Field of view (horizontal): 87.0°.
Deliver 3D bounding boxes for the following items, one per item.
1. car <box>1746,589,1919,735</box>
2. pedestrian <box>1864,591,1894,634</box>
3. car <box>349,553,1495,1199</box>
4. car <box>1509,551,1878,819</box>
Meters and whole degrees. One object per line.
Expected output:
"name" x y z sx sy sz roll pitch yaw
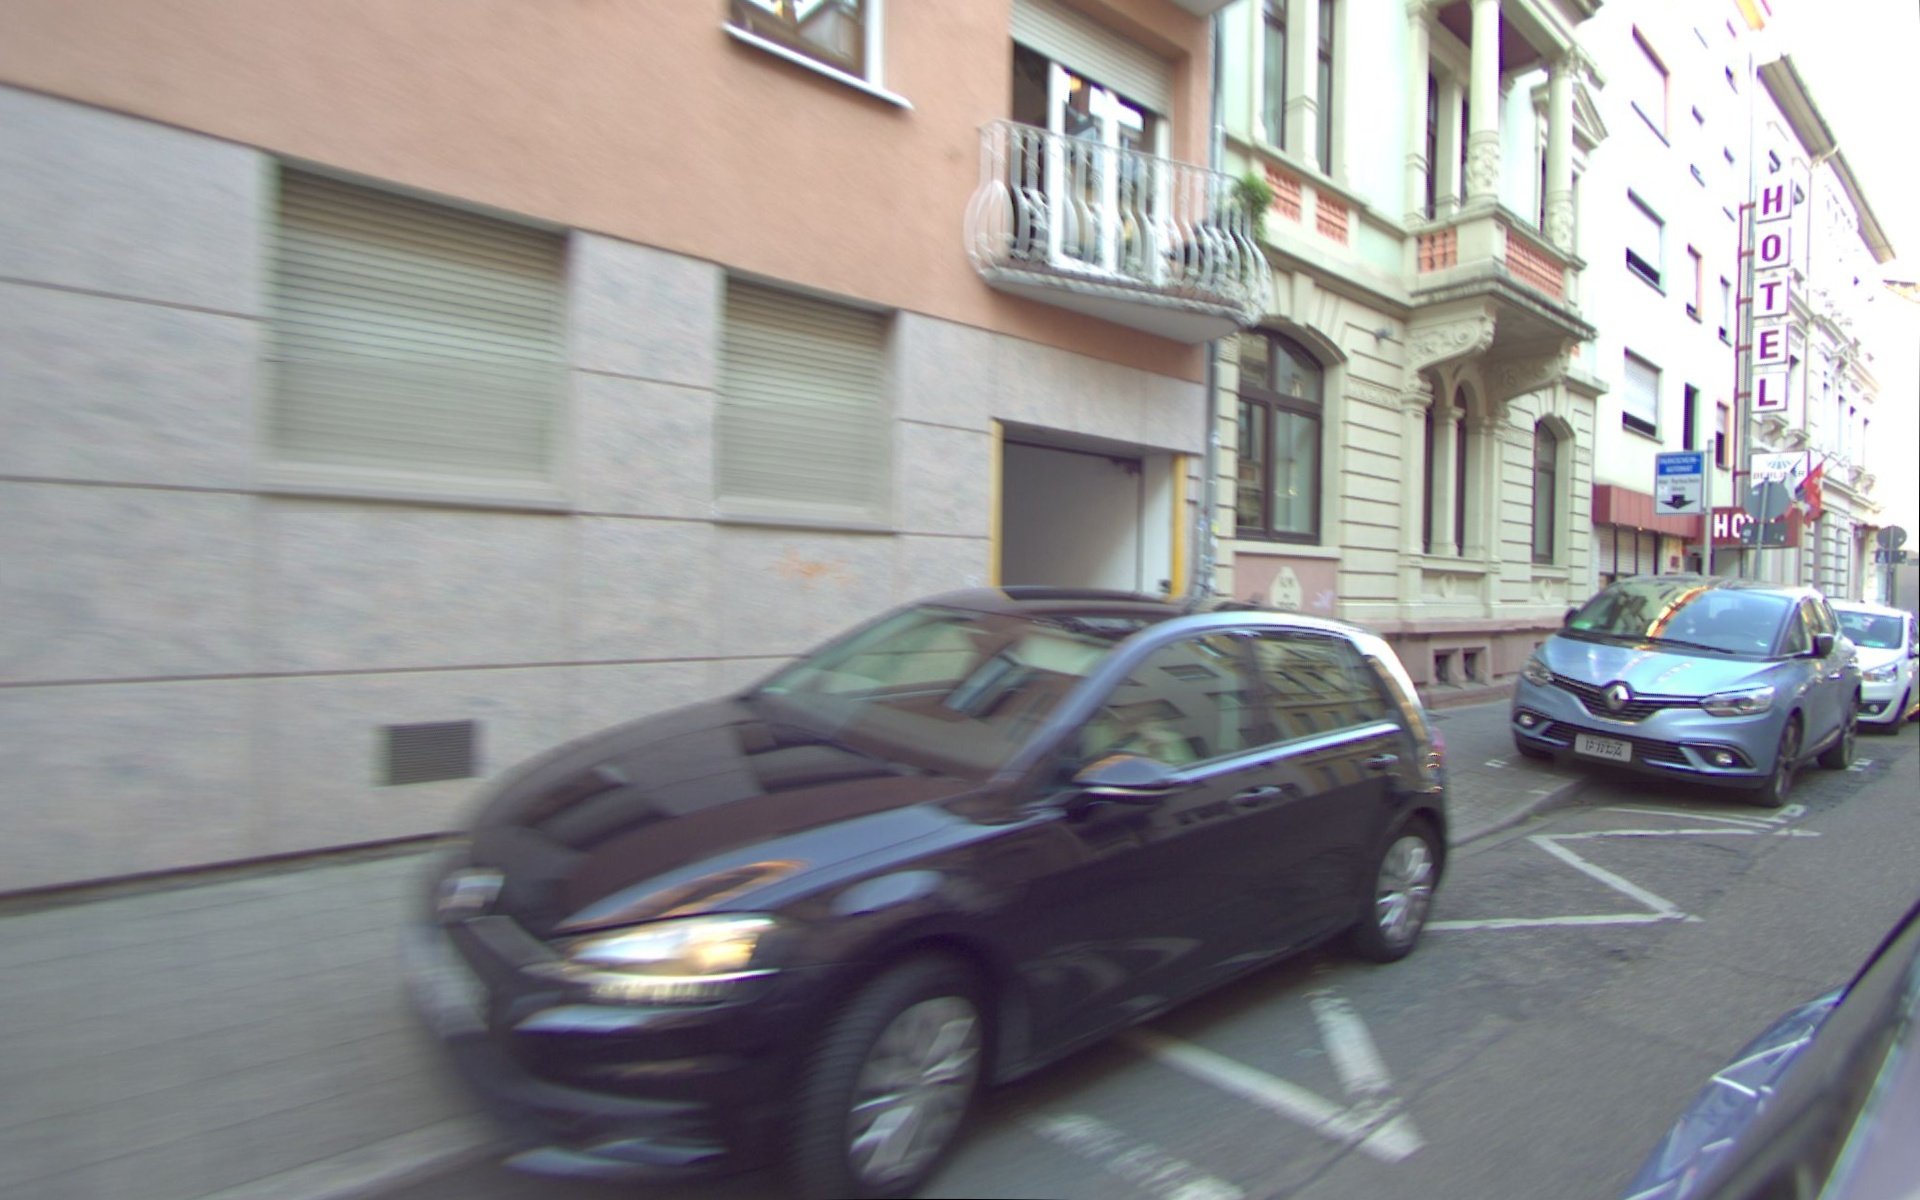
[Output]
"car" 11.434 0.686 12.926 3.527 1.598 1.572 1 0 -41
"pedestrian" 31.082 0.411 34.229 0.475 1.441 0.696 1 0 -39
"car" 0.258 0.655 3.722 4.060 1.476 1.692 1 0 -41
"car" 6.378 0.557 8.626 4.037 1.763 1.692 1 0 -41
